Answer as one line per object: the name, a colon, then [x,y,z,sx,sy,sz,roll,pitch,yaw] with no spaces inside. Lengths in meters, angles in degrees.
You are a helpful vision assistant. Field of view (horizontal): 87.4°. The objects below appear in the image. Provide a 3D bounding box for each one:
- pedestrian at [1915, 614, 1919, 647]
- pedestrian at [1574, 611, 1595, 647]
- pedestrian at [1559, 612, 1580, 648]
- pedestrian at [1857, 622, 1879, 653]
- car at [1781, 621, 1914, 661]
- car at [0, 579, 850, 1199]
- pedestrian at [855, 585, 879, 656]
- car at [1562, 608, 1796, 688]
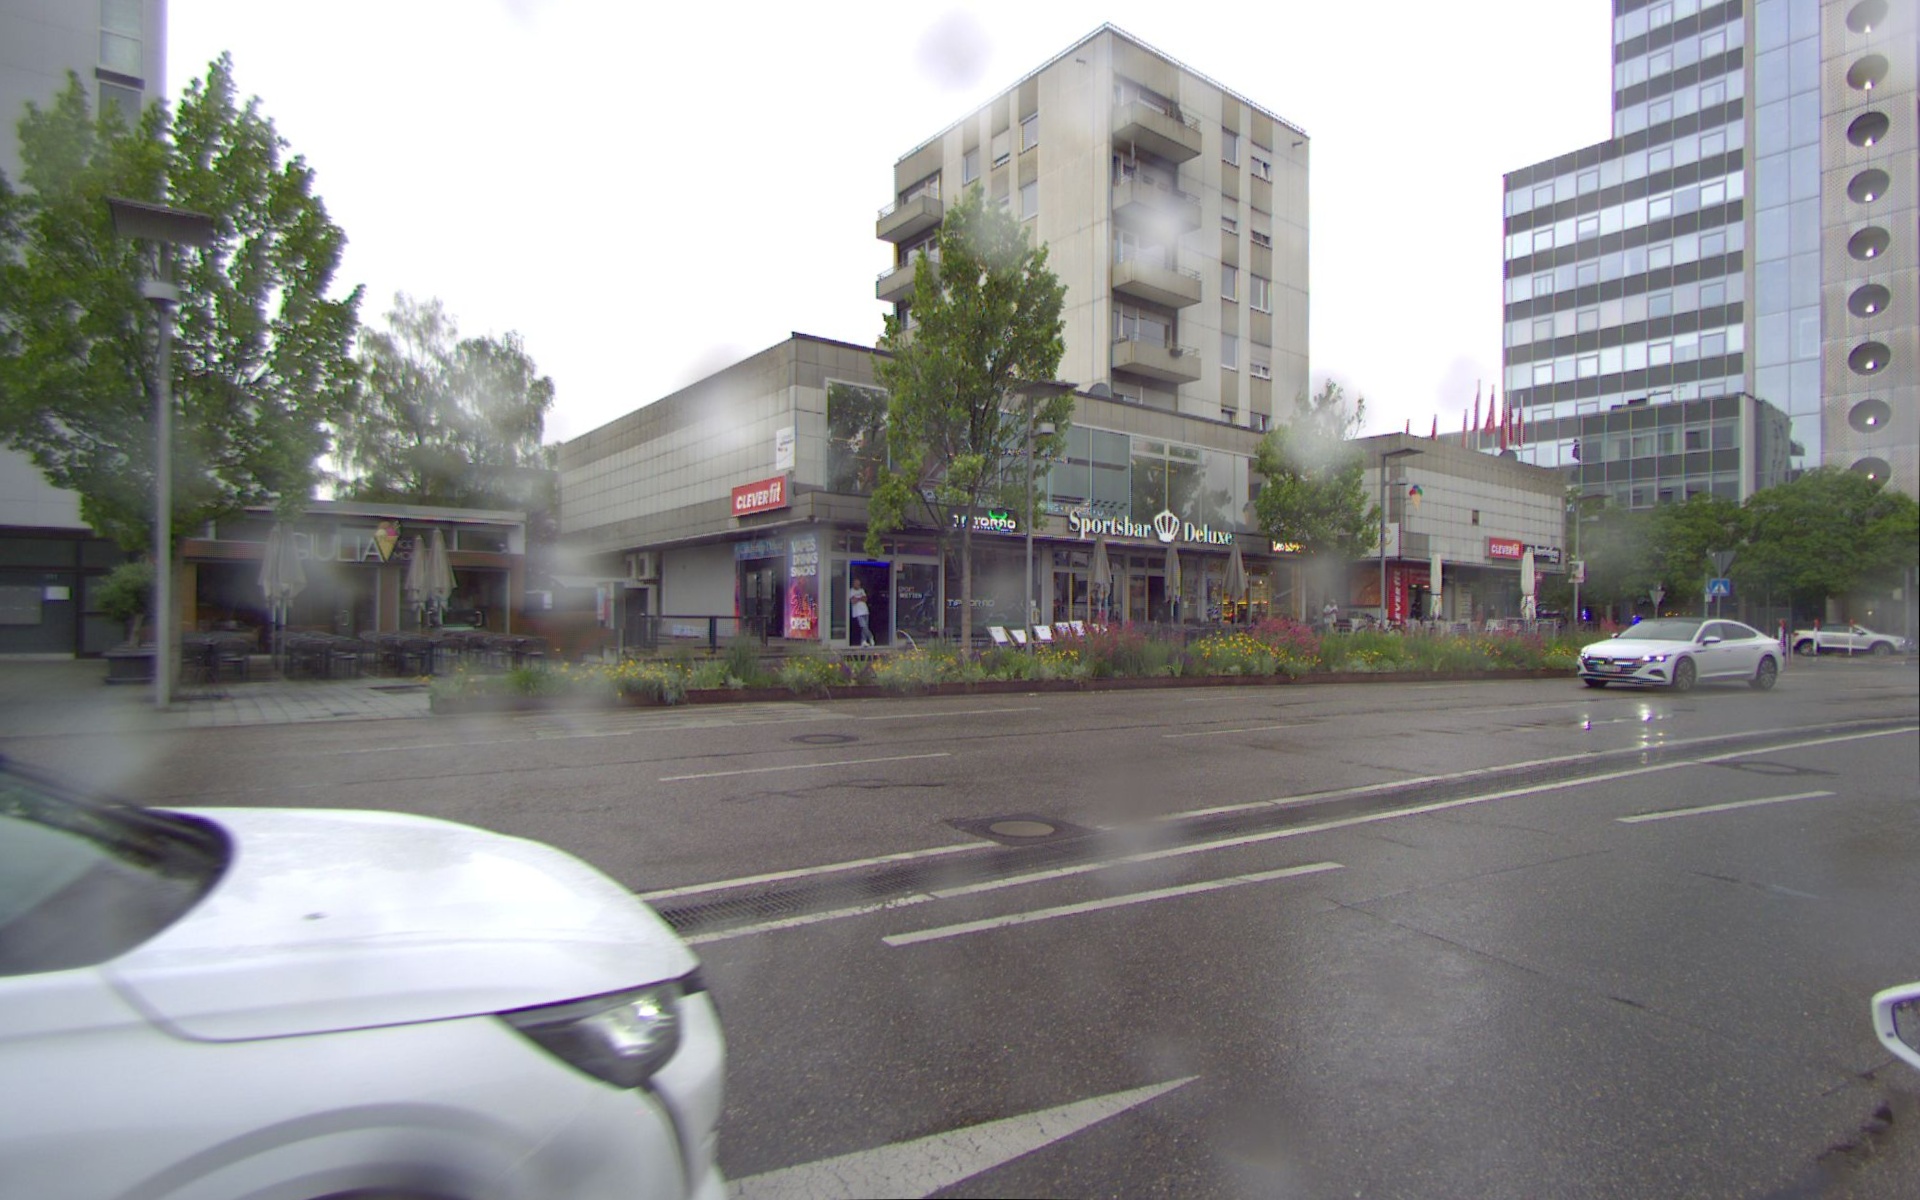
pedestrian: [58.837,1.857,61.302,0.709,2.040,0.756,1,0,-42]
pedestrian: [24.445,1.128,39.309,0.527,1.365,0.497,1,0,-3]
pedestrian: [23.847,1.170,39.287,0.527,1.365,0.497,0,0,-5]
pedestrian: [56.652,2.339,62.677,0.739,1.892,0.833,0,-1,24]
car: [39.917,1.818,45.256,1.850,1.616,4.168,1,0,-33]
car: [-2.295,0.701,1.510,3.835,1.481,1.859,1,0,-36]
pedestrian: [-2.456,0.538,26.609,0.495,1.873,0.424,1,0,-28]
car: [14.769,0.946,20.596,4.744,1.480,1.836,1,0,-25]
